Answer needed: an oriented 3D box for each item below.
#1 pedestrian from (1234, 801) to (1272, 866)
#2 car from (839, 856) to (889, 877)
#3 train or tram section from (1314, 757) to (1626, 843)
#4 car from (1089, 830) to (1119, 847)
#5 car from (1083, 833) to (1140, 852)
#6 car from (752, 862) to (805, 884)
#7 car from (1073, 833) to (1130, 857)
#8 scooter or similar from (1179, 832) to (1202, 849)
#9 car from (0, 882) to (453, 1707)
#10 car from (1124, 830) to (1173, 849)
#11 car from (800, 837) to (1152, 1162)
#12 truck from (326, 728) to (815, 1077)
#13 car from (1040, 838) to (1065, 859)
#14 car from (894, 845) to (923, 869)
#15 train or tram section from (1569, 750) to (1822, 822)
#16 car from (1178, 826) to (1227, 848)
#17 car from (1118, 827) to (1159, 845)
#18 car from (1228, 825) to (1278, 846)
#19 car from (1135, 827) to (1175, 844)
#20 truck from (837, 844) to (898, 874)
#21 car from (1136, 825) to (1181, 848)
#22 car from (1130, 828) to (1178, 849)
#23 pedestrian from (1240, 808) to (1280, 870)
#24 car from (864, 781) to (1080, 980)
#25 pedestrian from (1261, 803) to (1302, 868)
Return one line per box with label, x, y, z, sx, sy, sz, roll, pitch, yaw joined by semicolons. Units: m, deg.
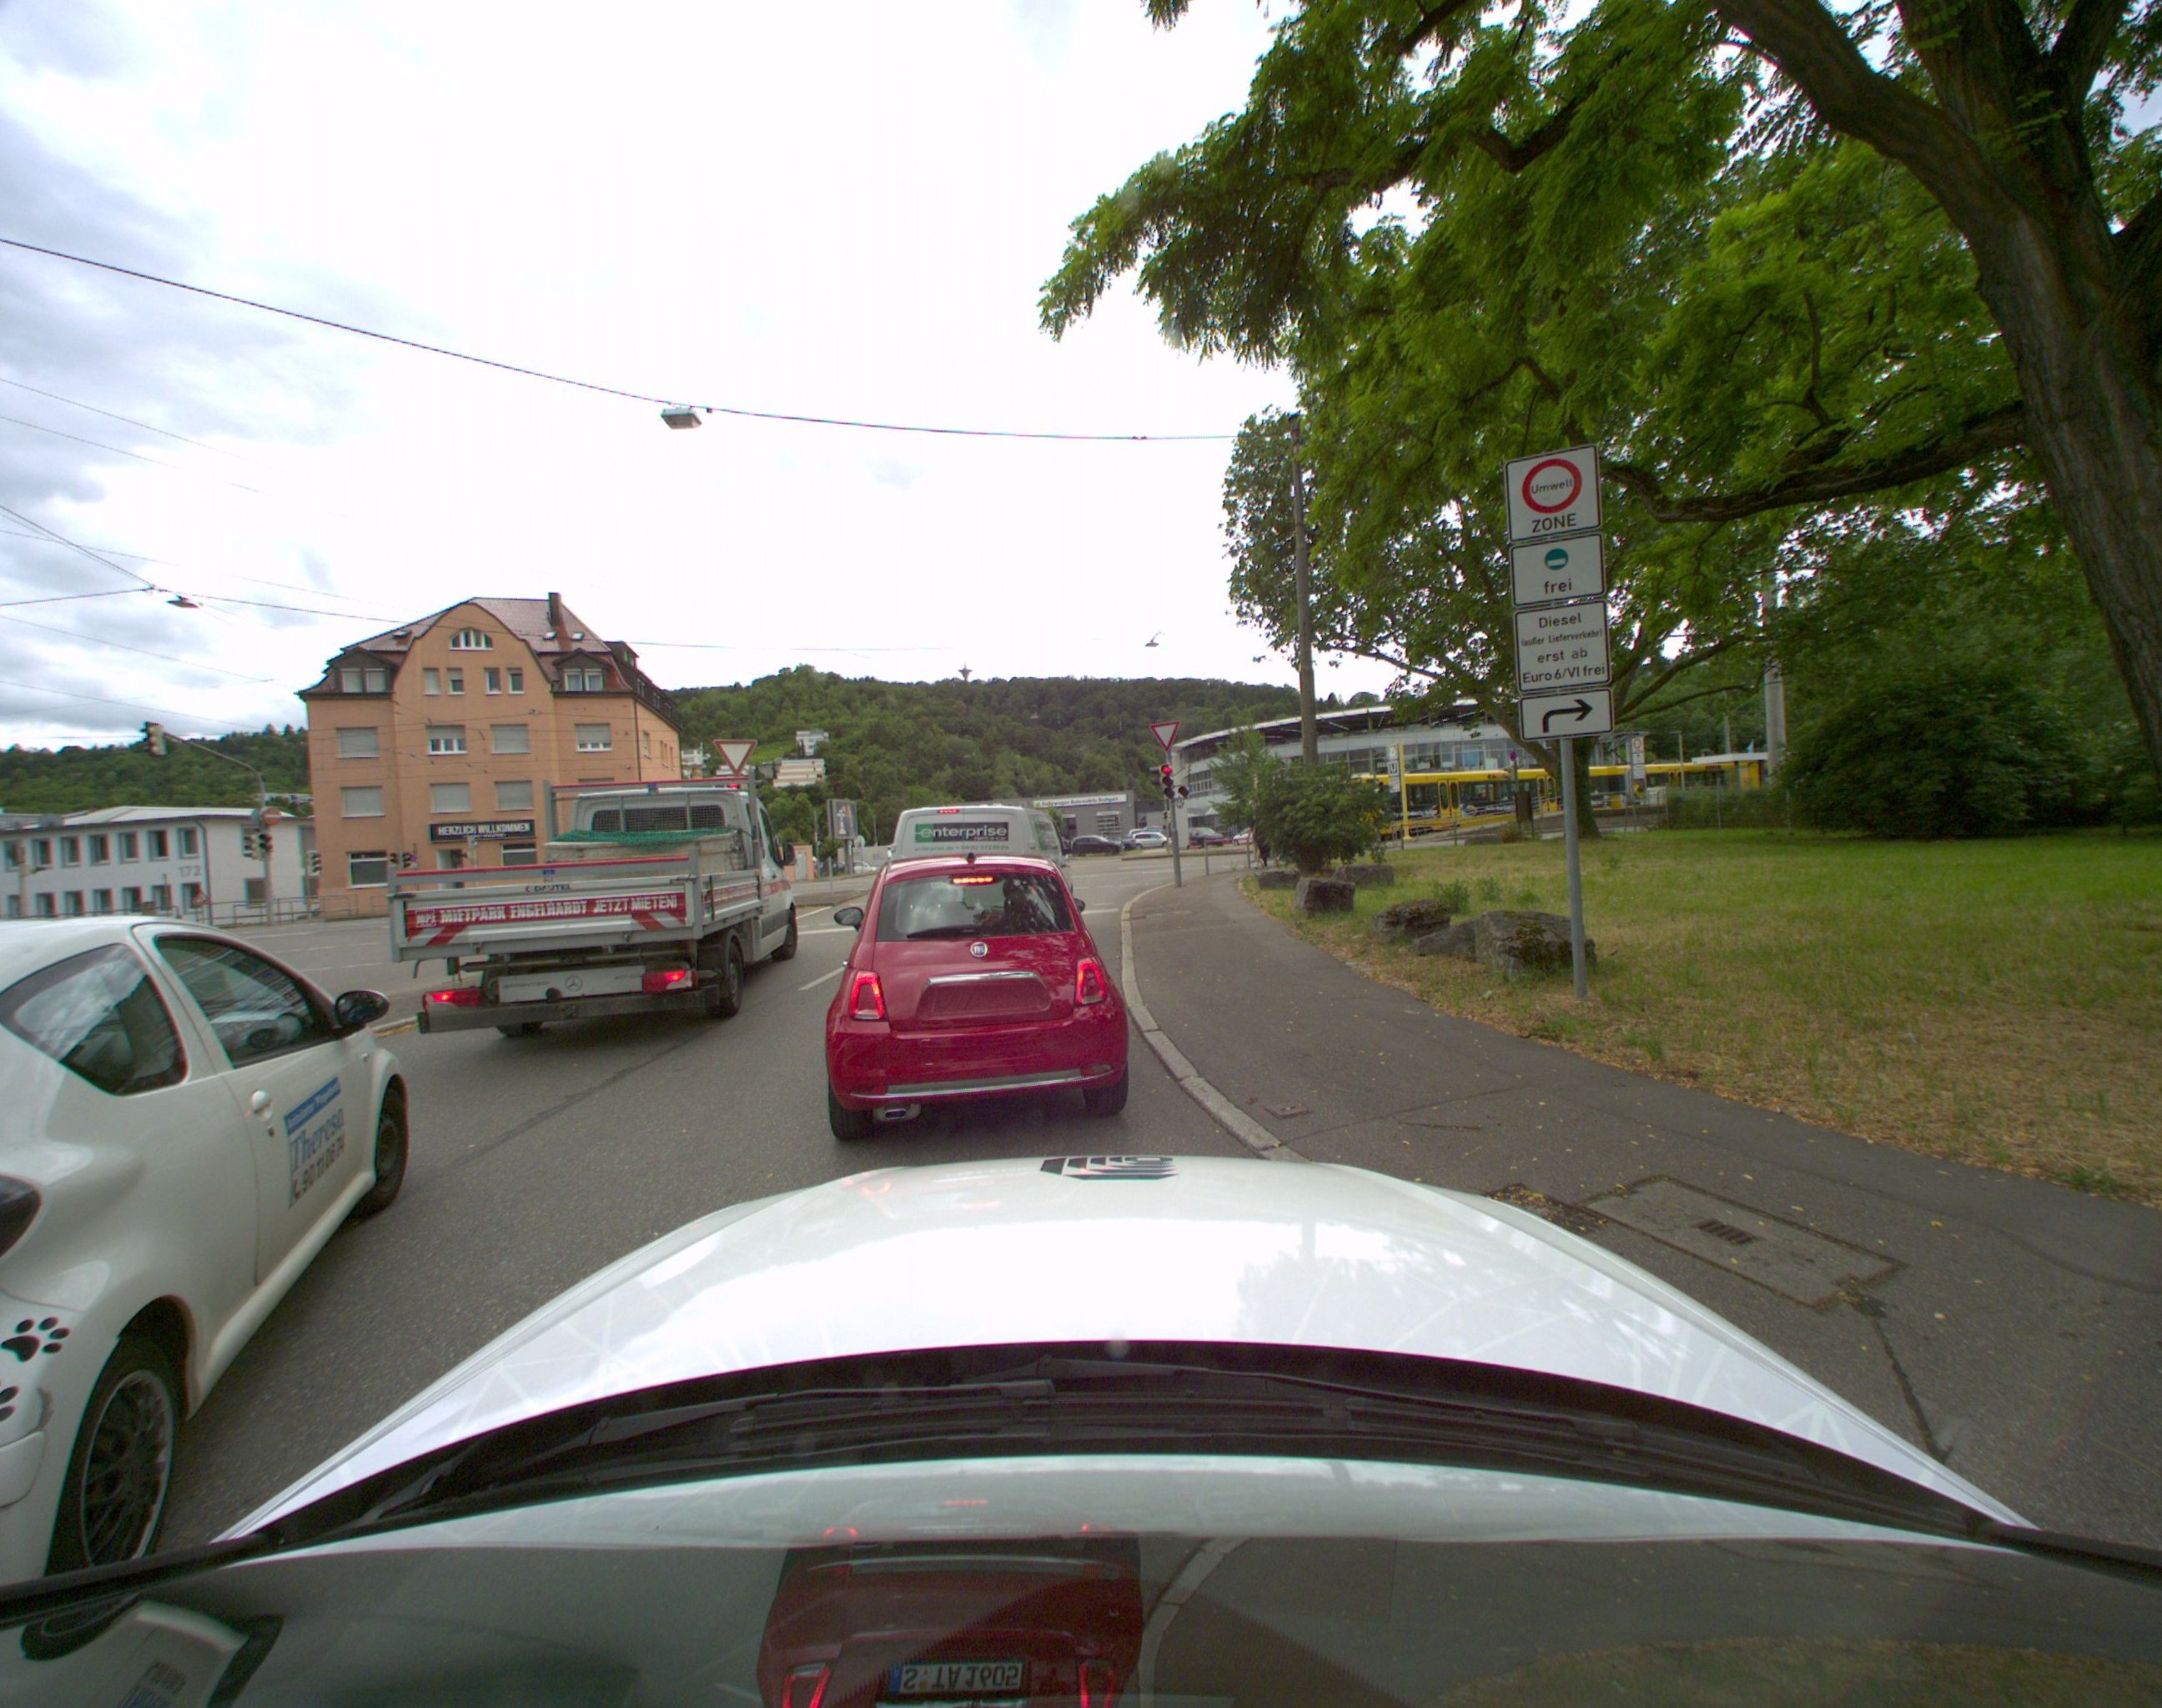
pedestrian;5.081;-0.601;24.071;0.686;1.857;0.793;-3;1;42
car;-19.585;1.123;73.630;4.209;1.533;1.767;-4;1;-14
train or tram section;22.009;-3.104;45.336;19.184;3.665;3.255;-4;1;-21
car;2.857;-1.898;99.730;1.974;1.815;4.026;-3;1;29
car;2.657;-0.990;70.756;4.636;1.327;1.783;-4;1;15
car;-26.550;1.649;71.635;4.218;1.533;1.763;-4;1;-20
car;1.533;-0.696;61.534;3.837;1.500;1.784;-3;1;18
scooter or similar;8.377;-1.030;62.291;1.658;1.177;0.469;-4;1;9
car;-3.302;0.887;2.466;1.649;1.432;3.398;-5;1;-30
car;6.712;-1.470;81.123;4.774;1.533;1.778;-4;1;4
car;-0.745;0.674;5.673;1.638;1.456;3.420;-3;1;-9
truck;-4.686;0.297;9.021;2.423;2.397;6.006;-4;1;-11
car;-2.718;-0.595;79.102;1.985;1.815;4.004;-4;1;3
car;-14.541;0.248;68.936;1.858;1.817;4.392;-4;1;-7
train or tram section;39.798;-4.456;52.320;19.184;3.665;3.255;-4;1;-21
car;9.679;-1.357;65.107;1.782;1.500;3.843;-4;1;-31
car;6.817;-2.133;96.284;4.774;1.802;1.778;-4;1;4
car;14.069;-1.525;66.714;1.781;1.500;3.984;-4;1;-29
car;9.183;-2.335;101.017;4.774;1.802;1.778;-4;1;4
truck;-20.116;0.464;76.720;5.211;2.393;1.983;-4;1;-26
car;8.510;-1.958;89.785;4.774;2.156;2.237;-4;1;4
car;7.587;-1.628;84.651;4.774;1.802;1.778;-4;1;4
pedestrian;5.123;-0.431;23.322;0.793;1.714;0.687;-5;1;-43
car;-1.238;0.249;11.569;1.981;2.106;4.767;-4;1;4
pedestrian;5.626;-0.528;22.828;0.686;1.739;0.793;-3;1;45
